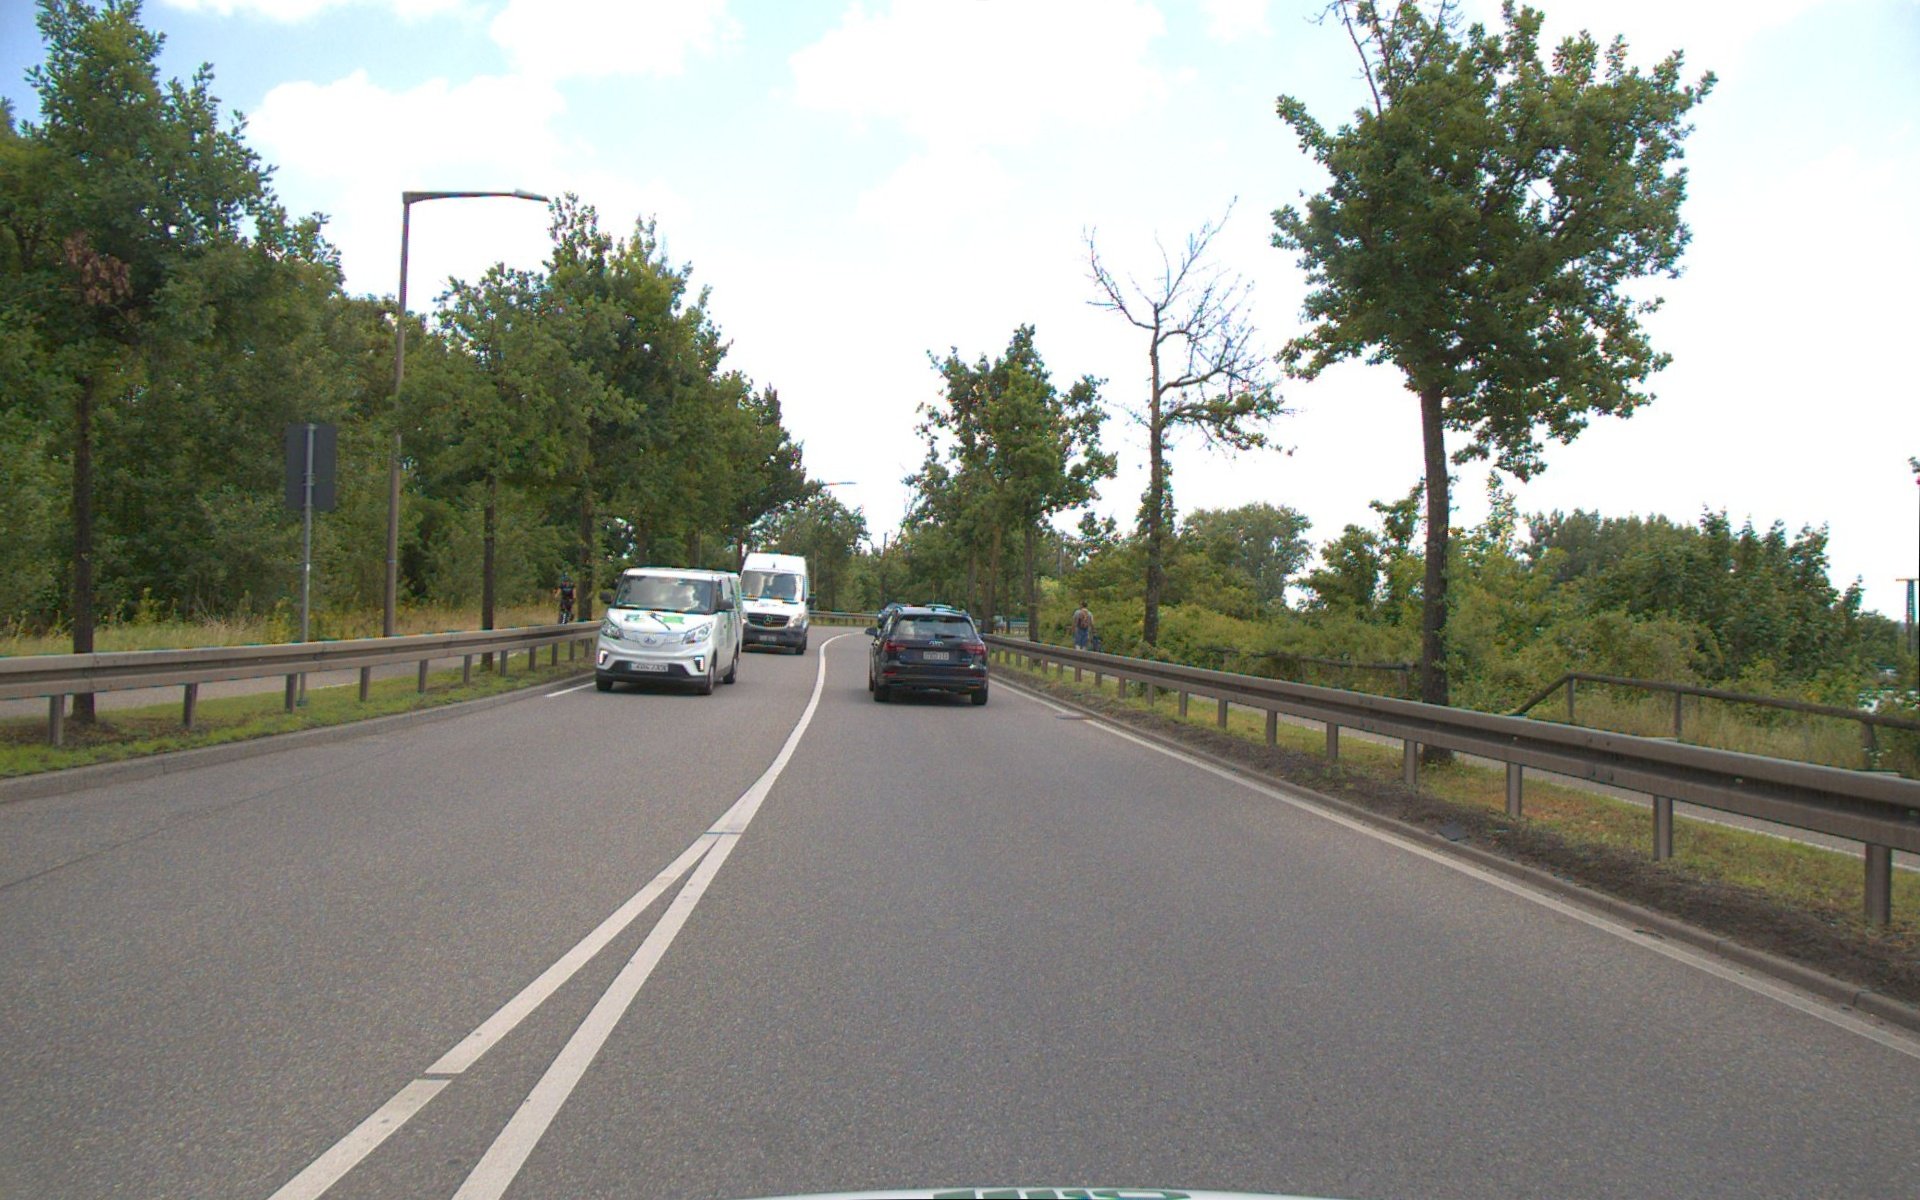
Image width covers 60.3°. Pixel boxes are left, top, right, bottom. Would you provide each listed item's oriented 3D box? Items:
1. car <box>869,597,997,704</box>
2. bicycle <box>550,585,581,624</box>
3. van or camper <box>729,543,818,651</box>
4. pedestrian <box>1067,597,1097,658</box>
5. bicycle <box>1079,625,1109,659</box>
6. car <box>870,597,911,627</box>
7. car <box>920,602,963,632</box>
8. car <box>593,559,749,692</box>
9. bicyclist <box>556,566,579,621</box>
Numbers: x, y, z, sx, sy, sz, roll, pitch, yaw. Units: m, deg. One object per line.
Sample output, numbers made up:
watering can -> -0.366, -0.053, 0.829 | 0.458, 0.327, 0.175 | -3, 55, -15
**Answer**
car -> -0.505, 0.736, 26.351 | 1.792, 1.518, 4.203 | 2, 0, -4
bicycle -> -11.381, 0.133, 47.767 | 0.545, 1.082, 1.752 | 2, 0, -4
van or camper -> -5.009, -0.079, 45.230 | 1.954, 2.627, 5.977 | 3, 0, -3
pedestrian -> 3.374, 0.754, 45.712 | 0.644, 1.671, 1.054 | 1, 0, -4
bicycle -> 3.698, 1.151, 45.736 | 0.545, 0.884, 1.824 | 1, 0, -4
car -> -4.151, 0.739, 99.473 | 1.743, 1.634, 4.161 | 4, 0, 7
car -> -0.979, 0.917, 90.415 | 1.545, 1.546, 4.003 | 2, 0, 11
car -> -4.546, 0.371, 26.734 | 1.740, 1.899, 5.264 | 1, 0, -2
bicyclist -> -11.385, -0.191, 47.969 | 0.475, 1.580, 0.880 | 1, 0, -4
